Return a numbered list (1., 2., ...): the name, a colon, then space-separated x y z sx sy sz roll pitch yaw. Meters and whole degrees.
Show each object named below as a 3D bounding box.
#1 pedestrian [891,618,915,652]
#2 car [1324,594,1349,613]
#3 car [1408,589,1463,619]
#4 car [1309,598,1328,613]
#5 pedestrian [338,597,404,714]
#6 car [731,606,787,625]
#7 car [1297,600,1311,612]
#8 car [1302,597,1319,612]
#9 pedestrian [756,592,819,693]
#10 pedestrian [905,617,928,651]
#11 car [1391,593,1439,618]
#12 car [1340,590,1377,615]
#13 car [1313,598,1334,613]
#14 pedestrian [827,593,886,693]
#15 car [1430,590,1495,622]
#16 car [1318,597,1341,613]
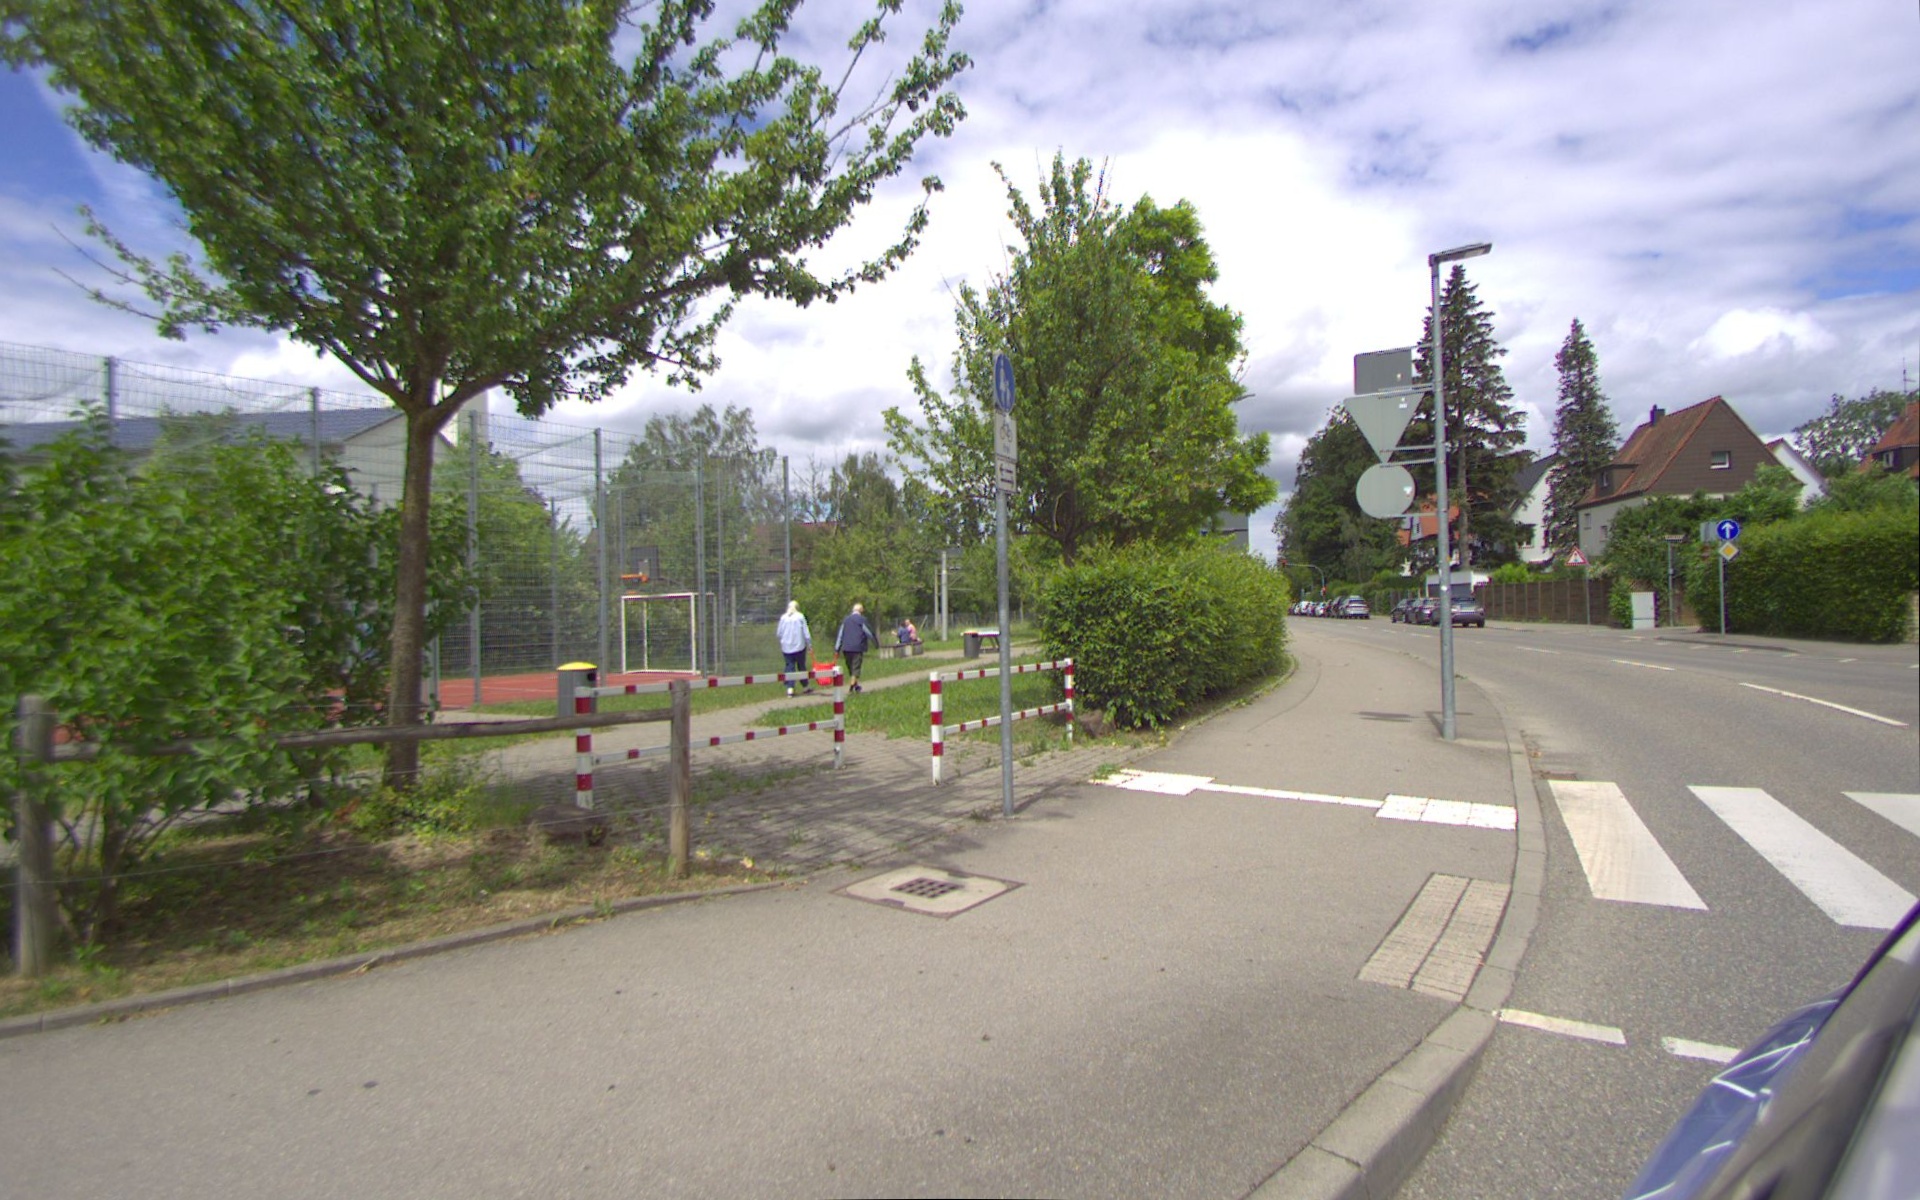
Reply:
1. pedestrian: -2.144 1.300 37.927 0.561 1.249 0.790 -1 0 29
2. car: 34.308 0.354 92.198 1.607 1.699 4.563 0 -1 14
3. car: 25.871 0.208 55.239 1.846 1.477 4.469 -2 0 14
4. car: 38.695 0.592 109.170 1.684 1.563 3.723 0 -1 16
5. pedestrian: -9.717 0.907 16.708 0.549 1.863 0.741 -4 -2 36
6. car: -14.867 1.140 75.084 1.982 1.349 3.958 -1 0 29
7. car: 43.896 0.723 129.089 1.688 1.471 4.330 1 0 19
8. car: 42.847 0.528 123.759 1.657 1.781 4.586 0 -1 14
9. pedestrian: -3.078 0.755 18.135 0.878 1.715 0.931 -3 -1 1
10. pedestrian: -1.662 1.279 38.708 0.543 1.261 0.790 -1 0 29
11. car: 26.933 0.355 60.014 1.629 1.445 3.895 -1 -1 9
12. car: 31.467 0.191 80.023 1.962 1.842 4.687 -2 -1 14
13. car: 37.298 0.564 103.946 1.724 1.428 4.300 0 -1 16
14. pedestrian: -1.859 0.758 18.285 0.878 1.715 0.931 -3 -1 1
15. car: 24.682 0.300 49.864 1.971 1.498 4.624 -1 0 15
16. car: 35.901 0.488 98.423 1.786 1.478 5.042 0 -1 16
